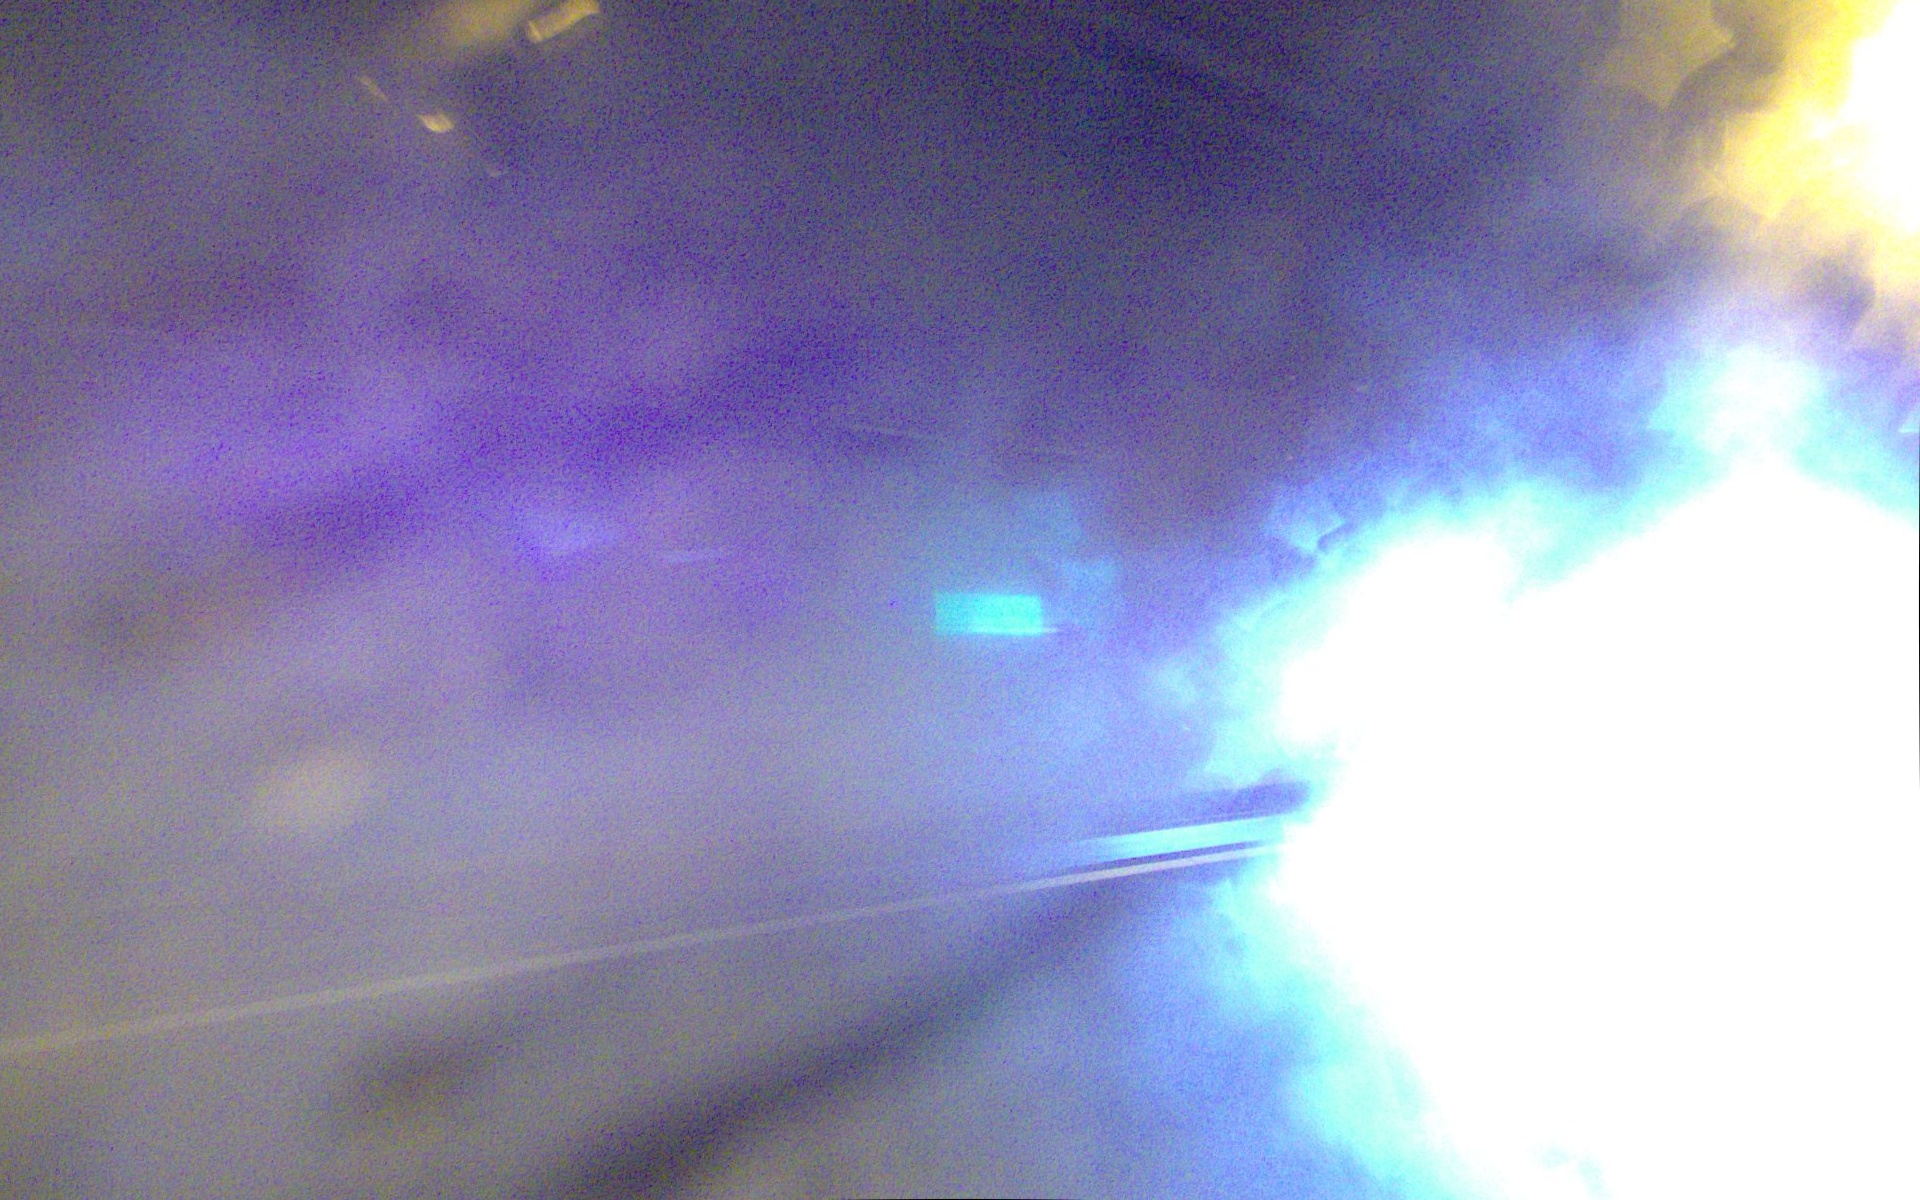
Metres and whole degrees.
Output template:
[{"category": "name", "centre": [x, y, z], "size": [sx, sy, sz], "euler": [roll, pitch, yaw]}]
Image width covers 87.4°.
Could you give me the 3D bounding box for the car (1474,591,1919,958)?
[{"category": "car", "centre": [5.184, 0.791, 6.186], "size": [4.096, 1.624, 1.628], "euler": [0, -1, -30]}]
